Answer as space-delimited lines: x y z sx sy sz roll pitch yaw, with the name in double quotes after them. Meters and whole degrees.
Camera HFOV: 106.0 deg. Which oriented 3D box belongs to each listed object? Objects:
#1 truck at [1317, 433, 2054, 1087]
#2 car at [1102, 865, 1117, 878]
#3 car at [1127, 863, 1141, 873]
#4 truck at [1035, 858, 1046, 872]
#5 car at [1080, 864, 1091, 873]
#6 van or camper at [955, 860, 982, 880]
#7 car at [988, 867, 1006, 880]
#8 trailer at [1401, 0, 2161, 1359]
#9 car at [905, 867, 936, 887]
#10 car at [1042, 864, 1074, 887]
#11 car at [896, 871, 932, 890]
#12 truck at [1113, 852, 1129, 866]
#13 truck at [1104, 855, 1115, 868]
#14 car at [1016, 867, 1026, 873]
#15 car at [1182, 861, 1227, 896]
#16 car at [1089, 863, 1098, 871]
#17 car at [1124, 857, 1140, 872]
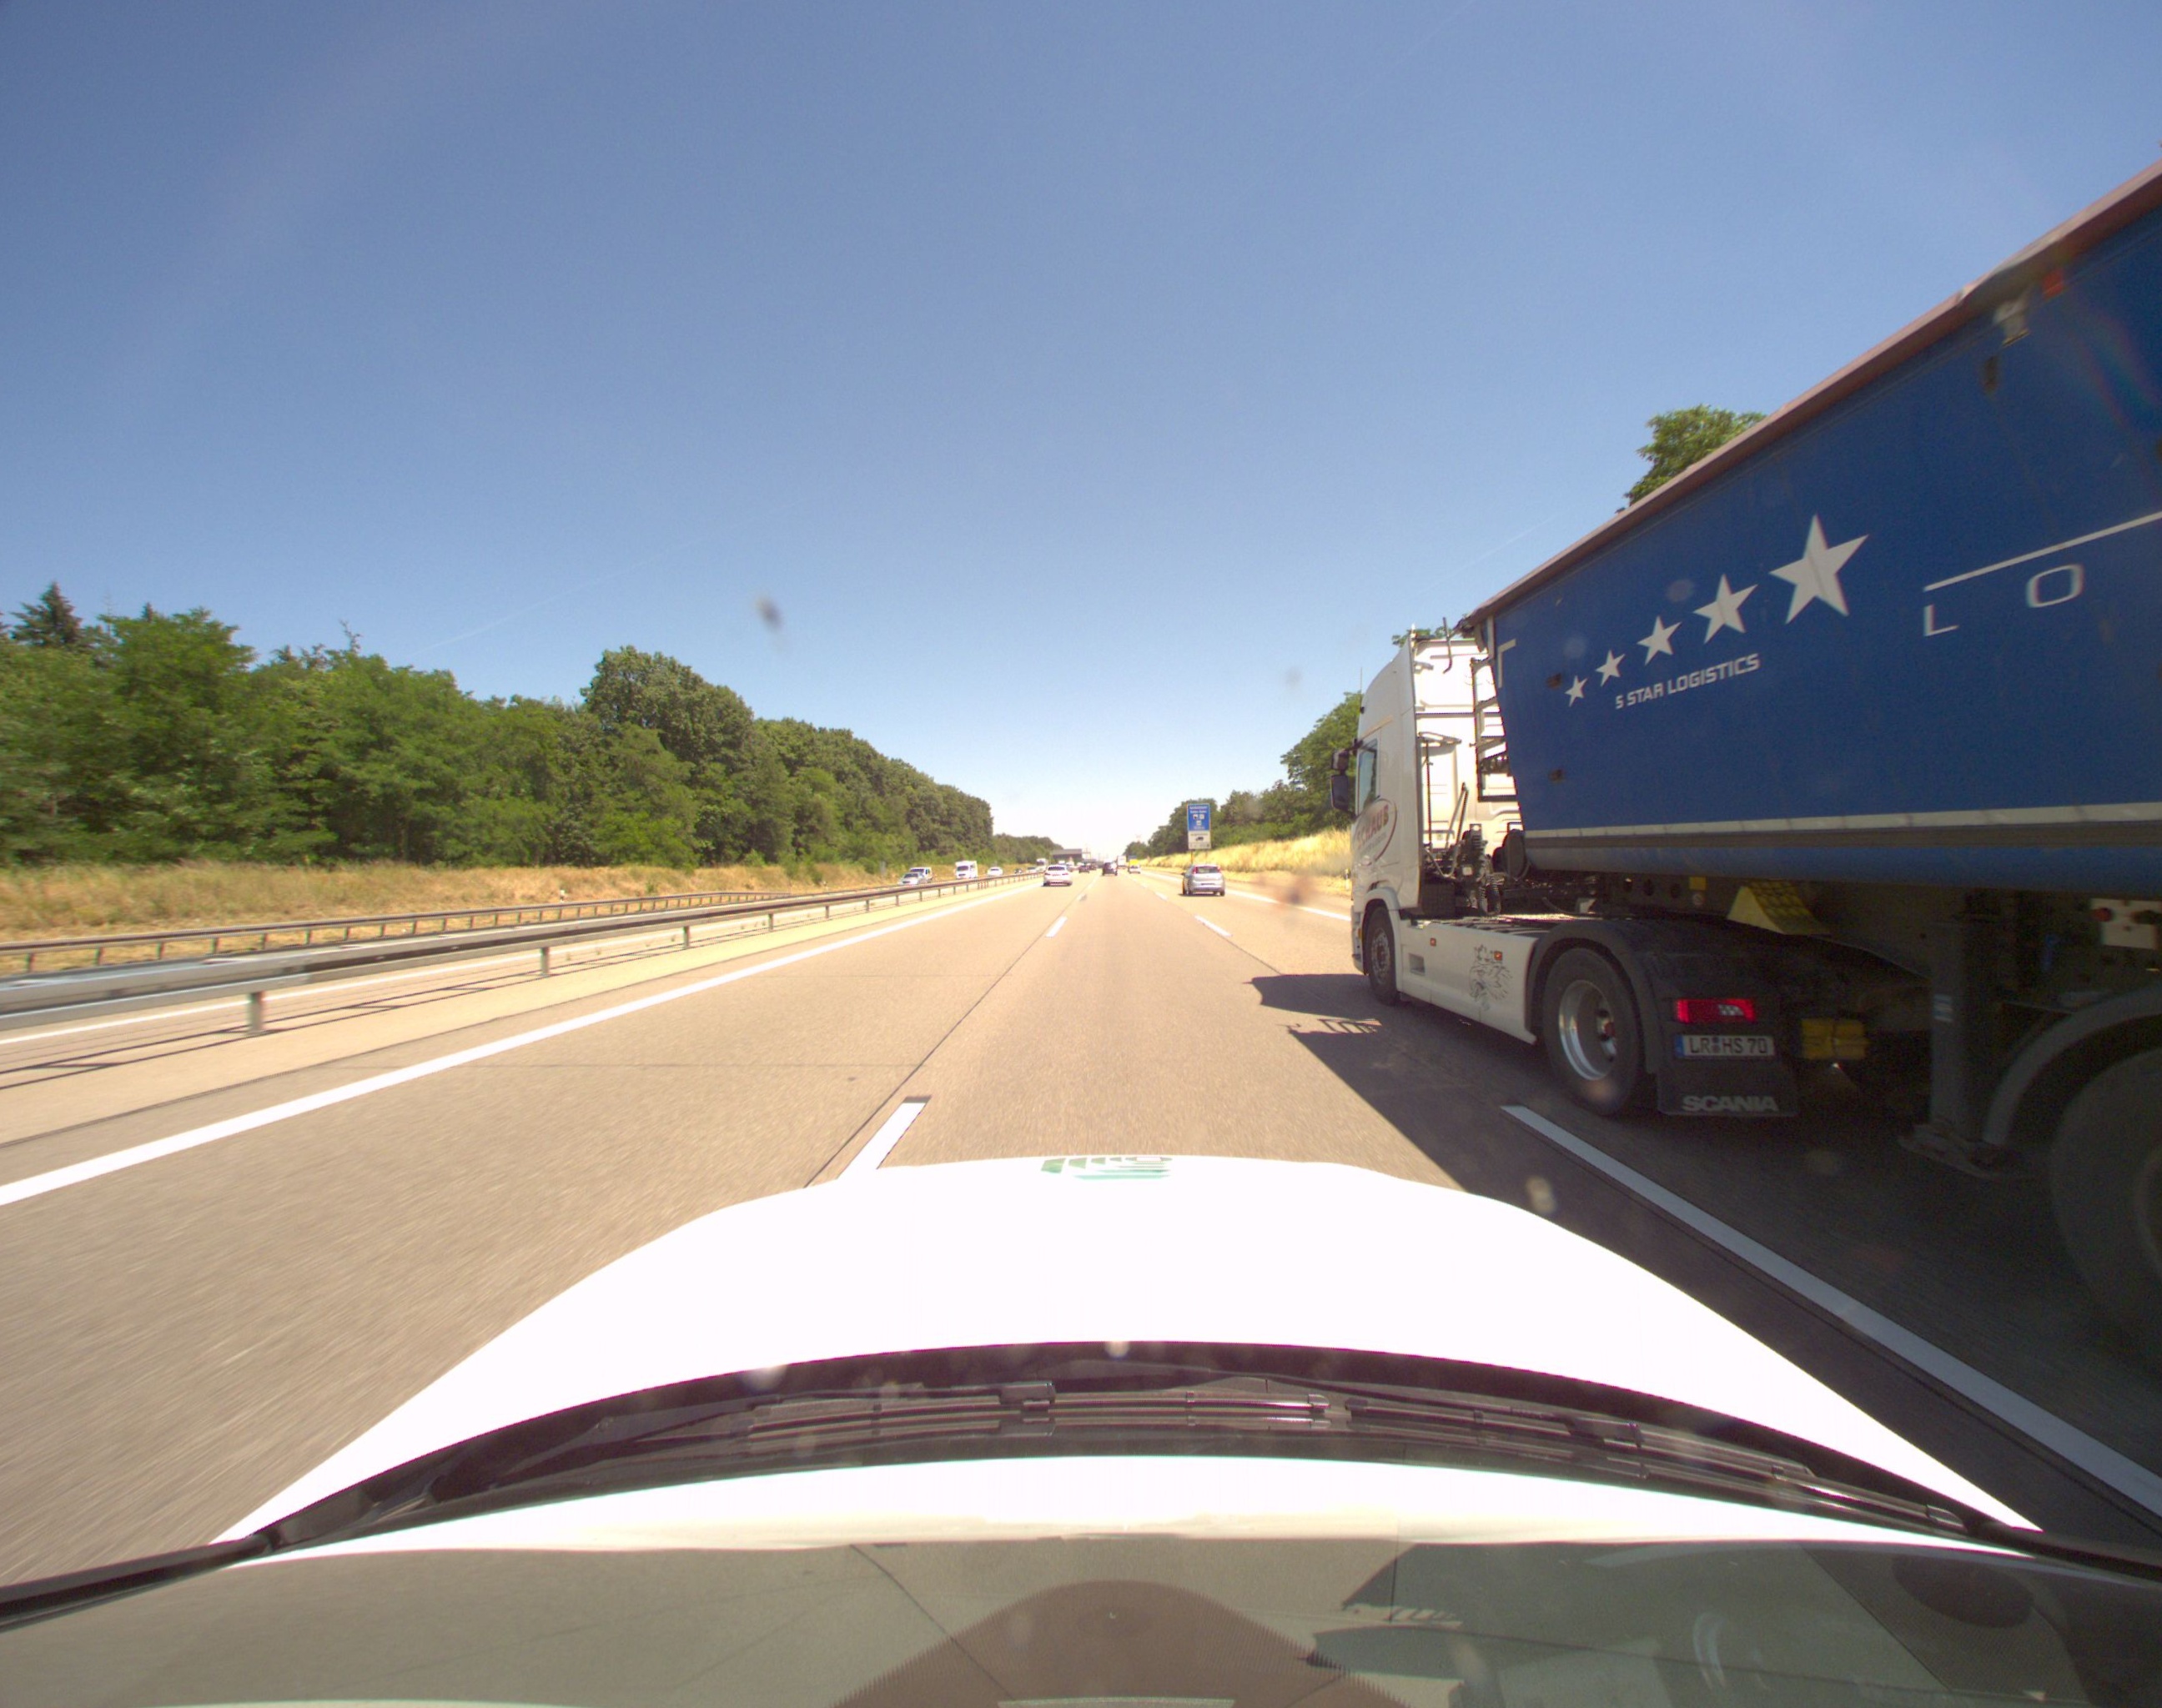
4.373 -0.542 7.731 2.674 3.758 5.947 -1 0 2 "truck"
3.641 2.237 105.117 1.826 1.672 3.999 0 -1 0 "car"
8.135 2.161 124.310 1.816 1.492 3.735 -1 -1 -1 "car"
-12.828 3.544 257.455 2.894 4.067 5.654 -4 -1 1 "truck"
0.763 2.549 139.749 1.825 1.431 5.001 -1 0 2 "car"
-16.187 2.298 117.633 2.452 2.575 7.773 -4 -1 2 "van or camper"
-12.501 2.886 121.487 1.986 1.694 5.247 -4 -1 2 "car"
4.190 -0.584 2.921 2.726 3.758 9.113 -1 0 2 "trailer"
-17.458 2.492 88.873 1.986 1.953 5.247 -4 -1 2 "car"
-1.573 1.483 57.752 1.956 1.504 5.406 -1 -1 2 "car"
-14.471 2.271 70.902 1.844 1.527 5.206 -3 -1 2 "car"
12.486 1.677 252.866 3.983 4.315 9.870 1 -1 -3 "truck"
6.608 1.815 190.139 2.420 2.884 6.204 -1 -1 0 "truck"
-14.057 3.699 191.150 1.807 1.395 4.113 -4 -1 2 "car"
5.707 1.113 37.980 1.712 1.491 3.739 -1 0 2 "car"
2.989 3.056 191.831 1.868 1.580 3.930 -1 0 2 "car"
9.604 1.952 152.889 2.658 2.634 6.112 -1 -1 0 "car"
